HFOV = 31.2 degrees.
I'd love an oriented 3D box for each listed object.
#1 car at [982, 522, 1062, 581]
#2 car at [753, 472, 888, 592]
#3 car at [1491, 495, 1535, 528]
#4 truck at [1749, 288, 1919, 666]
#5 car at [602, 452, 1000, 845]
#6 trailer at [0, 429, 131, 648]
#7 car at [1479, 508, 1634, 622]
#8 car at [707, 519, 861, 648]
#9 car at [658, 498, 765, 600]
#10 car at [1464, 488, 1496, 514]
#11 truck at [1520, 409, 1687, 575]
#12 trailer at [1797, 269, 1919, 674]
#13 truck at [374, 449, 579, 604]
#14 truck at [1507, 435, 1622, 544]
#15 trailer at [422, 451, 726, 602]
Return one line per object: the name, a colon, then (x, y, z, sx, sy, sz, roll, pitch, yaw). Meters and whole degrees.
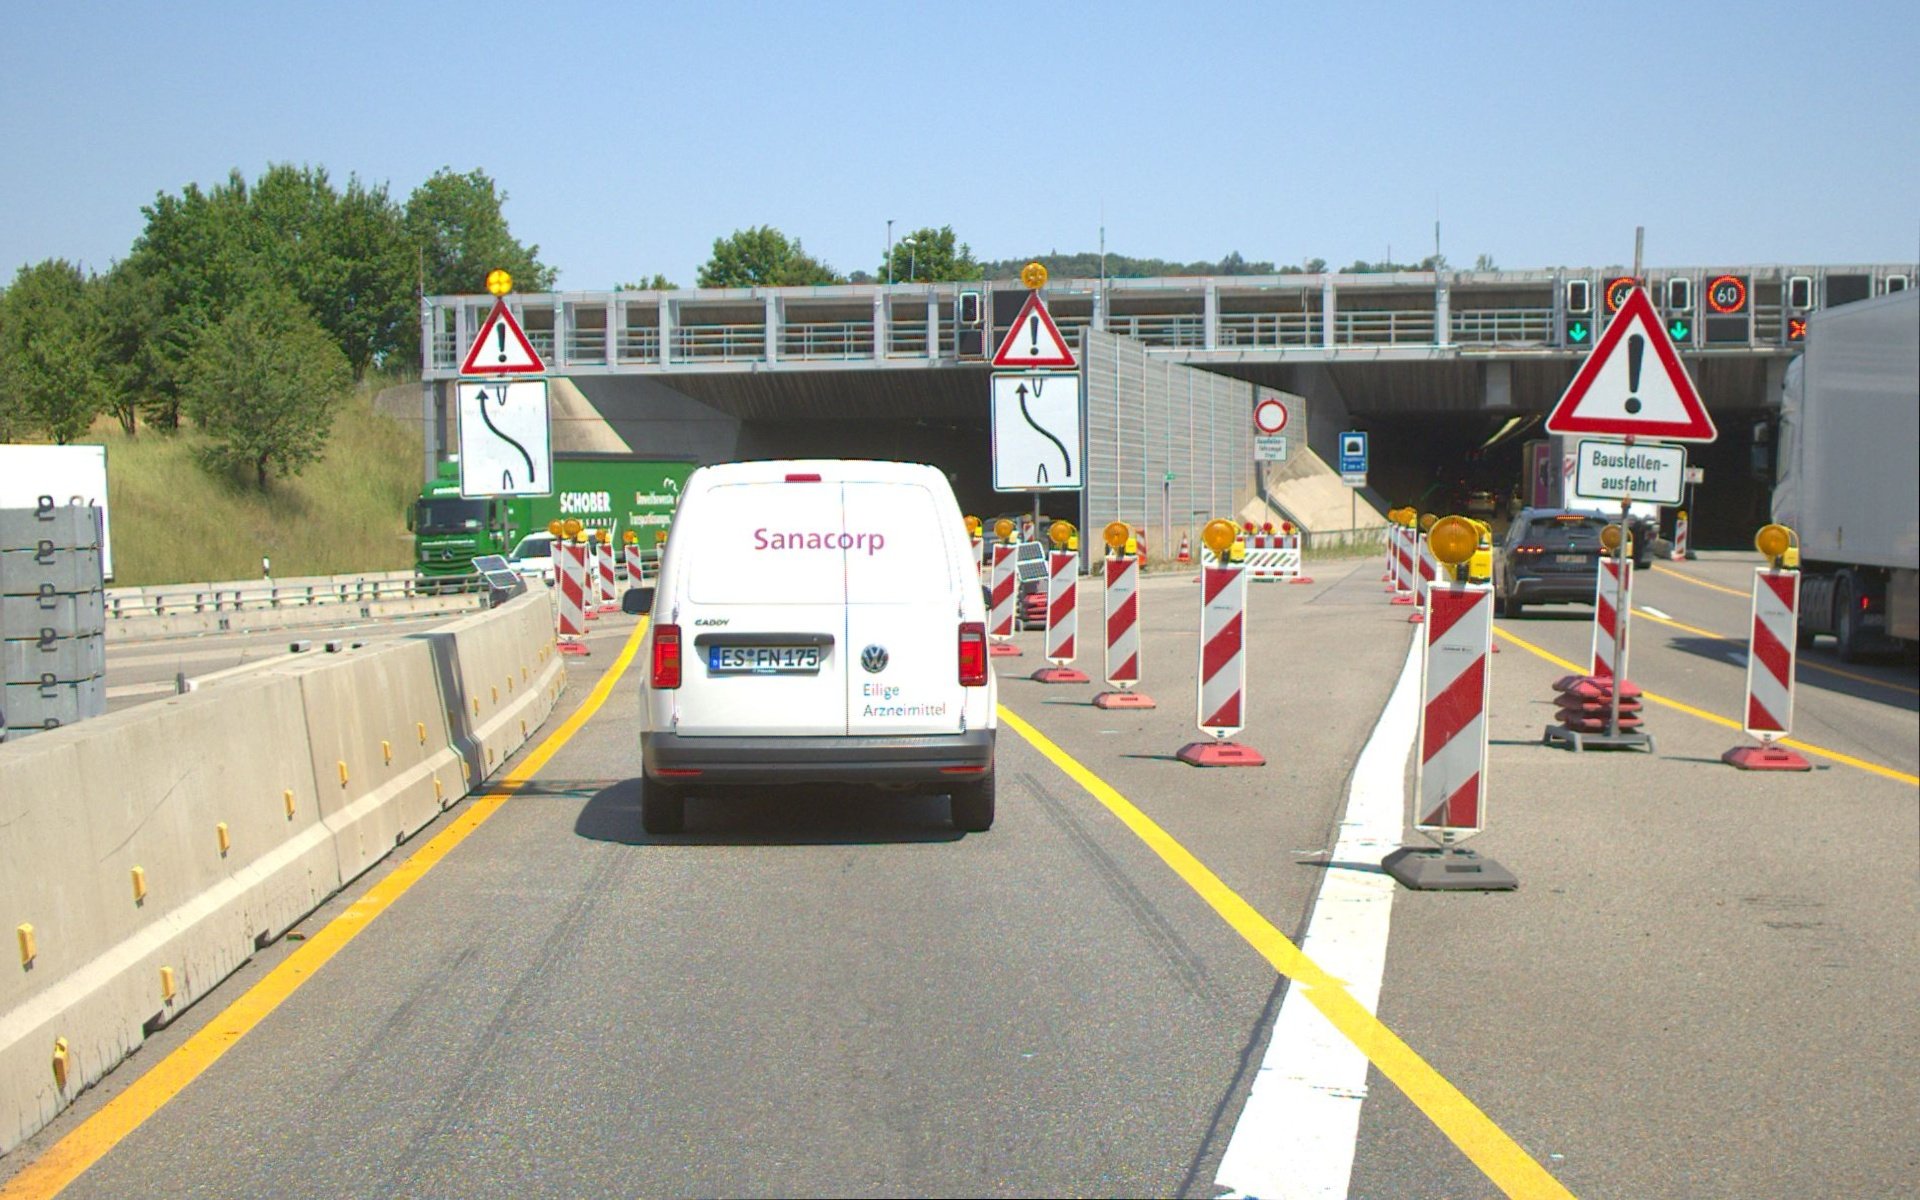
car: (2.023, -1.577, 110.955, 1.954, 1.809, 4.408, -1, 1, 9)
car: (-3.336, -1.625, 83.810, 2.814, 2.764, 7.101, 1, 1, 1)
car: (32.686, -5.222, 203.343, 2.332, 1.832, 4.543, 1, 1, 6)
truck: (11.113, -1.353, 39.647, 2.745, 4.019, 5.926, 1, 1, 2)
car: (-0.826, 0.188, 17.885, 1.808, 1.788, 3.731, -1, 1, -3)
trailer: (-21.591, -1.232, 68.520, 2.666, 4.484, 14.918, 1, 2, 17)
car: (8.981, -0.551, 52.044, 1.815, 1.624, 4.190, 1, 1, 3)
car: (-2.299, -0.245, 44.032, 1.808, 1.532, 4.410, -1, 1, -5)
car: (-4.633, -0.977, 64.541, 1.808, 1.809, 4.410, -1, 1, -2)
car: (33.324, -6.342, 220.268, 1.815, 1.624, 4.189, 1, 1, 6)
truck: (18.371, -2.925, 99.263, 3.402, 4.320, 16.532, 1, 1, 6)
trailer: (10.892, -1.239, 32.742, 2.732, 4.048, 14.095, 1, 1, 2)
truck: (-13.686, -2.086, 97.795, 3.549, 4.255, 5.774, 0, 1, 19)
truck: (24.153, -4.327, 138.180, 3.402, 4.057, 16.533, 1, 1, 6)
trailer: (-11.443, -2.213, 104.254, 3.549, 4.255, 13.895, 0, 1, 19)
